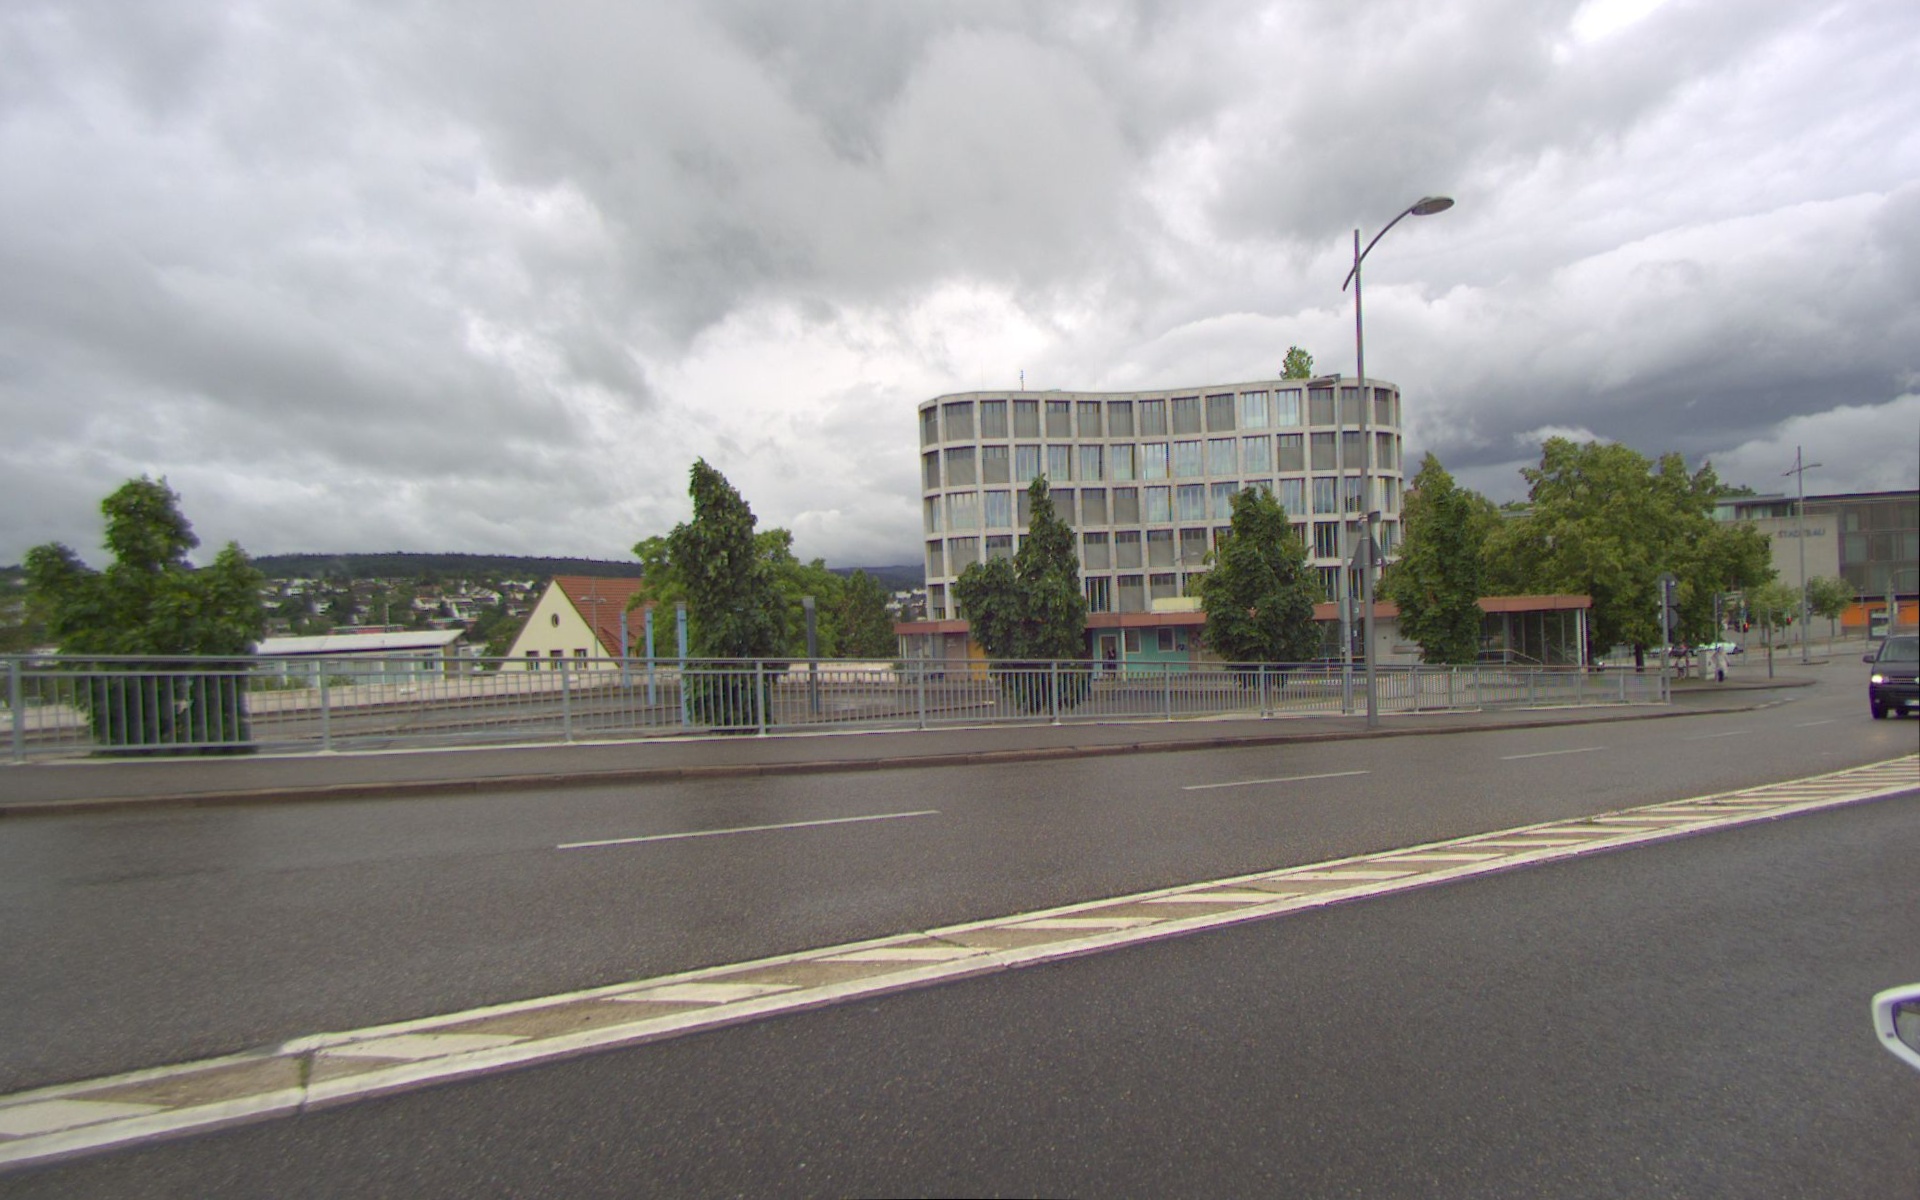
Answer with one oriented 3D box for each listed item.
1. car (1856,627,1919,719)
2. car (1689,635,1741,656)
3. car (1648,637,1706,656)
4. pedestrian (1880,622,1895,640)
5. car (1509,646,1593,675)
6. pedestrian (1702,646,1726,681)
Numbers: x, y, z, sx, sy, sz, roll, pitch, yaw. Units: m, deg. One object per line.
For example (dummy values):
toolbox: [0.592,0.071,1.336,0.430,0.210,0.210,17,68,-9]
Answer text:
car: [22.417,1.663,23.367,4.651,1.993,1.829,3,-4,-42]
car: [62.541,3.754,83.209,3.522,1.515,1.628,-3,-2,-15]
car: [63.406,4.122,88.852,3.712,1.515,1.767,-3,-2,8]
pedestrian: [75.303,2.527,81.522,0.713,1.410,0.675,-2,-2,-32]
car: [35.751,3.641,60.863,3.974,1.528,1.729,-3,-2,13]
pedestrian: [34.790,2.920,46.348,0.625,1.590,0.647,1,-5,-38]
